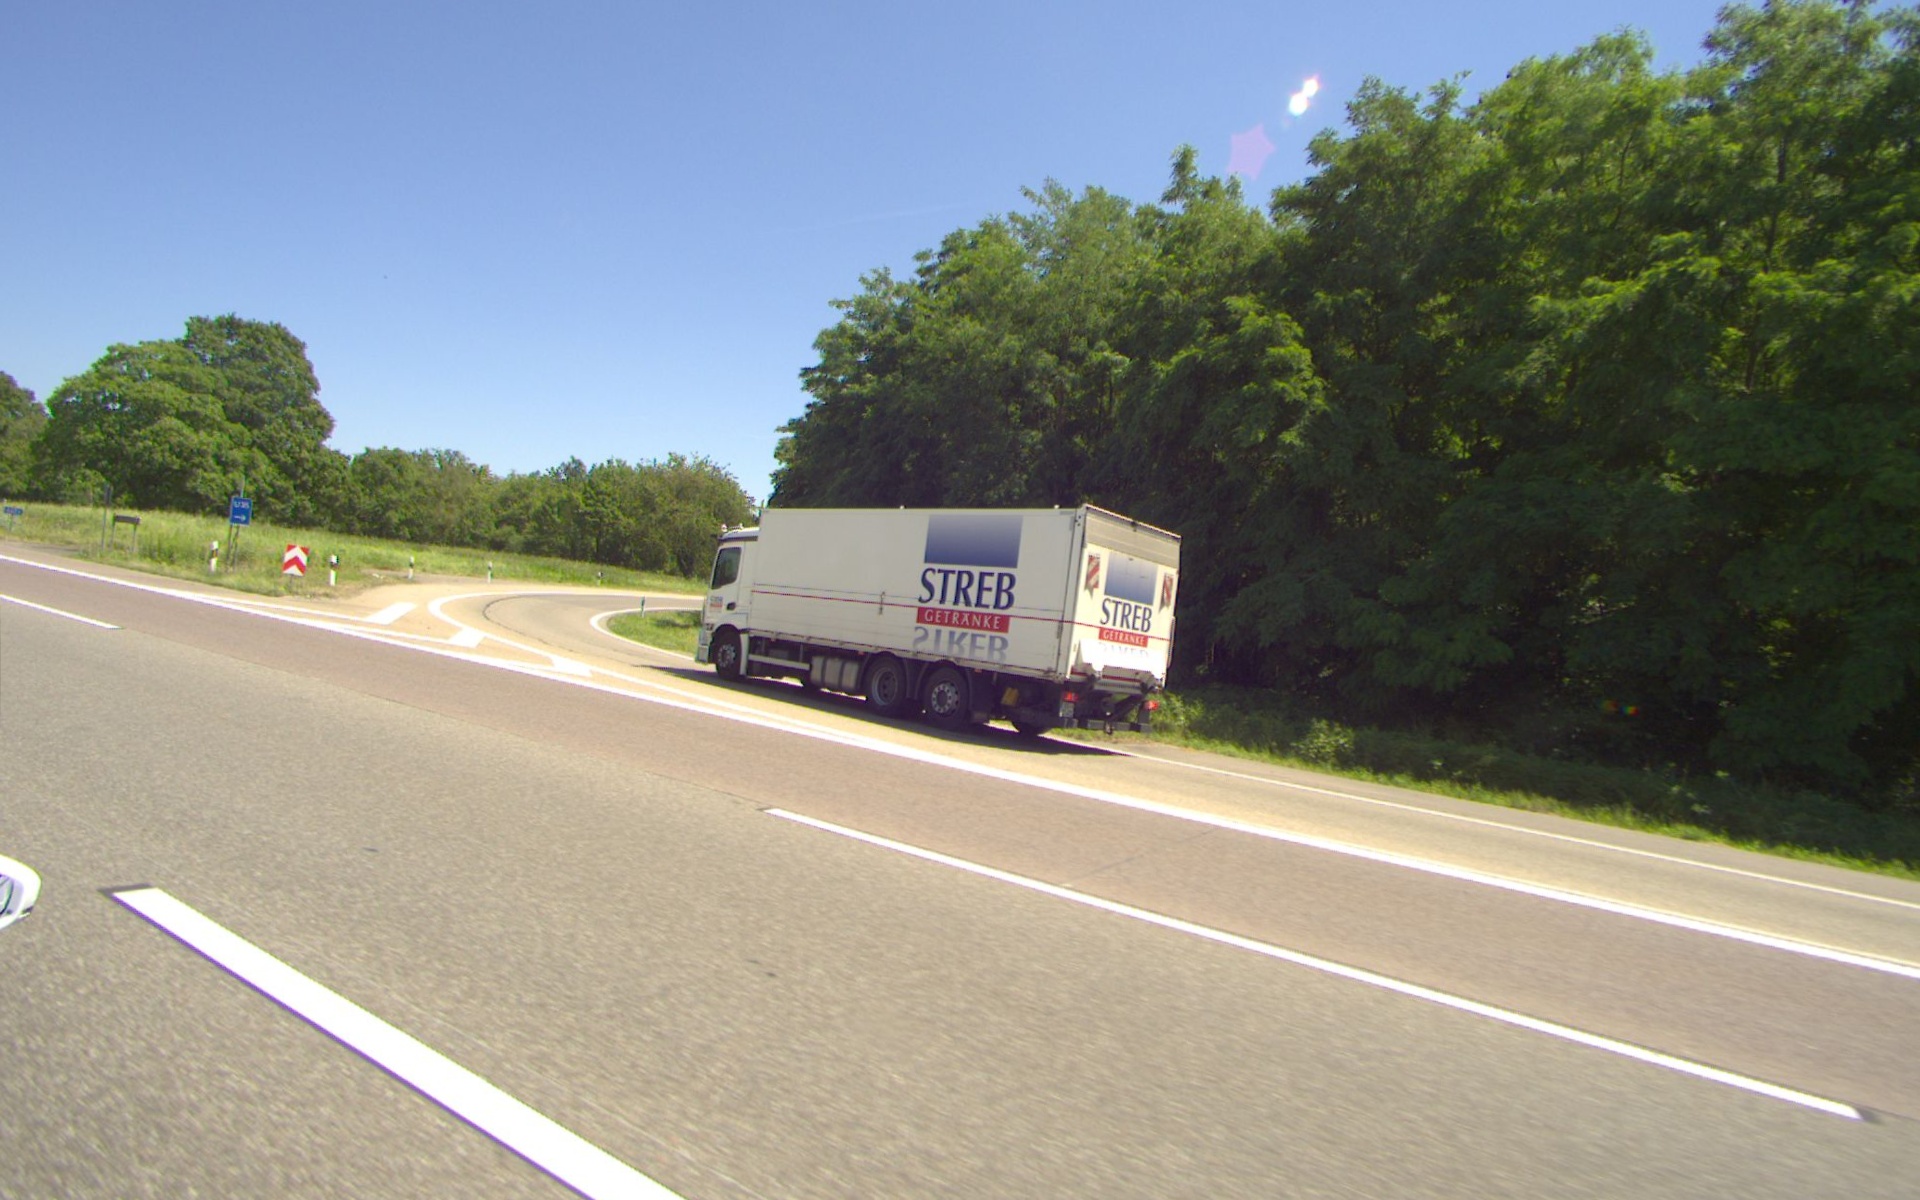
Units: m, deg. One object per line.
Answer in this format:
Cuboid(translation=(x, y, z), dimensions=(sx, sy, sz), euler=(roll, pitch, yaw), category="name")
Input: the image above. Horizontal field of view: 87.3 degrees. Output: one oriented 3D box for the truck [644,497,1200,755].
Cuboid(translation=(-1.373, 0.137, 17.906), dimensions=(10.628, 3.358, 3.023), euler=(6, -2, 44), category="truck")
